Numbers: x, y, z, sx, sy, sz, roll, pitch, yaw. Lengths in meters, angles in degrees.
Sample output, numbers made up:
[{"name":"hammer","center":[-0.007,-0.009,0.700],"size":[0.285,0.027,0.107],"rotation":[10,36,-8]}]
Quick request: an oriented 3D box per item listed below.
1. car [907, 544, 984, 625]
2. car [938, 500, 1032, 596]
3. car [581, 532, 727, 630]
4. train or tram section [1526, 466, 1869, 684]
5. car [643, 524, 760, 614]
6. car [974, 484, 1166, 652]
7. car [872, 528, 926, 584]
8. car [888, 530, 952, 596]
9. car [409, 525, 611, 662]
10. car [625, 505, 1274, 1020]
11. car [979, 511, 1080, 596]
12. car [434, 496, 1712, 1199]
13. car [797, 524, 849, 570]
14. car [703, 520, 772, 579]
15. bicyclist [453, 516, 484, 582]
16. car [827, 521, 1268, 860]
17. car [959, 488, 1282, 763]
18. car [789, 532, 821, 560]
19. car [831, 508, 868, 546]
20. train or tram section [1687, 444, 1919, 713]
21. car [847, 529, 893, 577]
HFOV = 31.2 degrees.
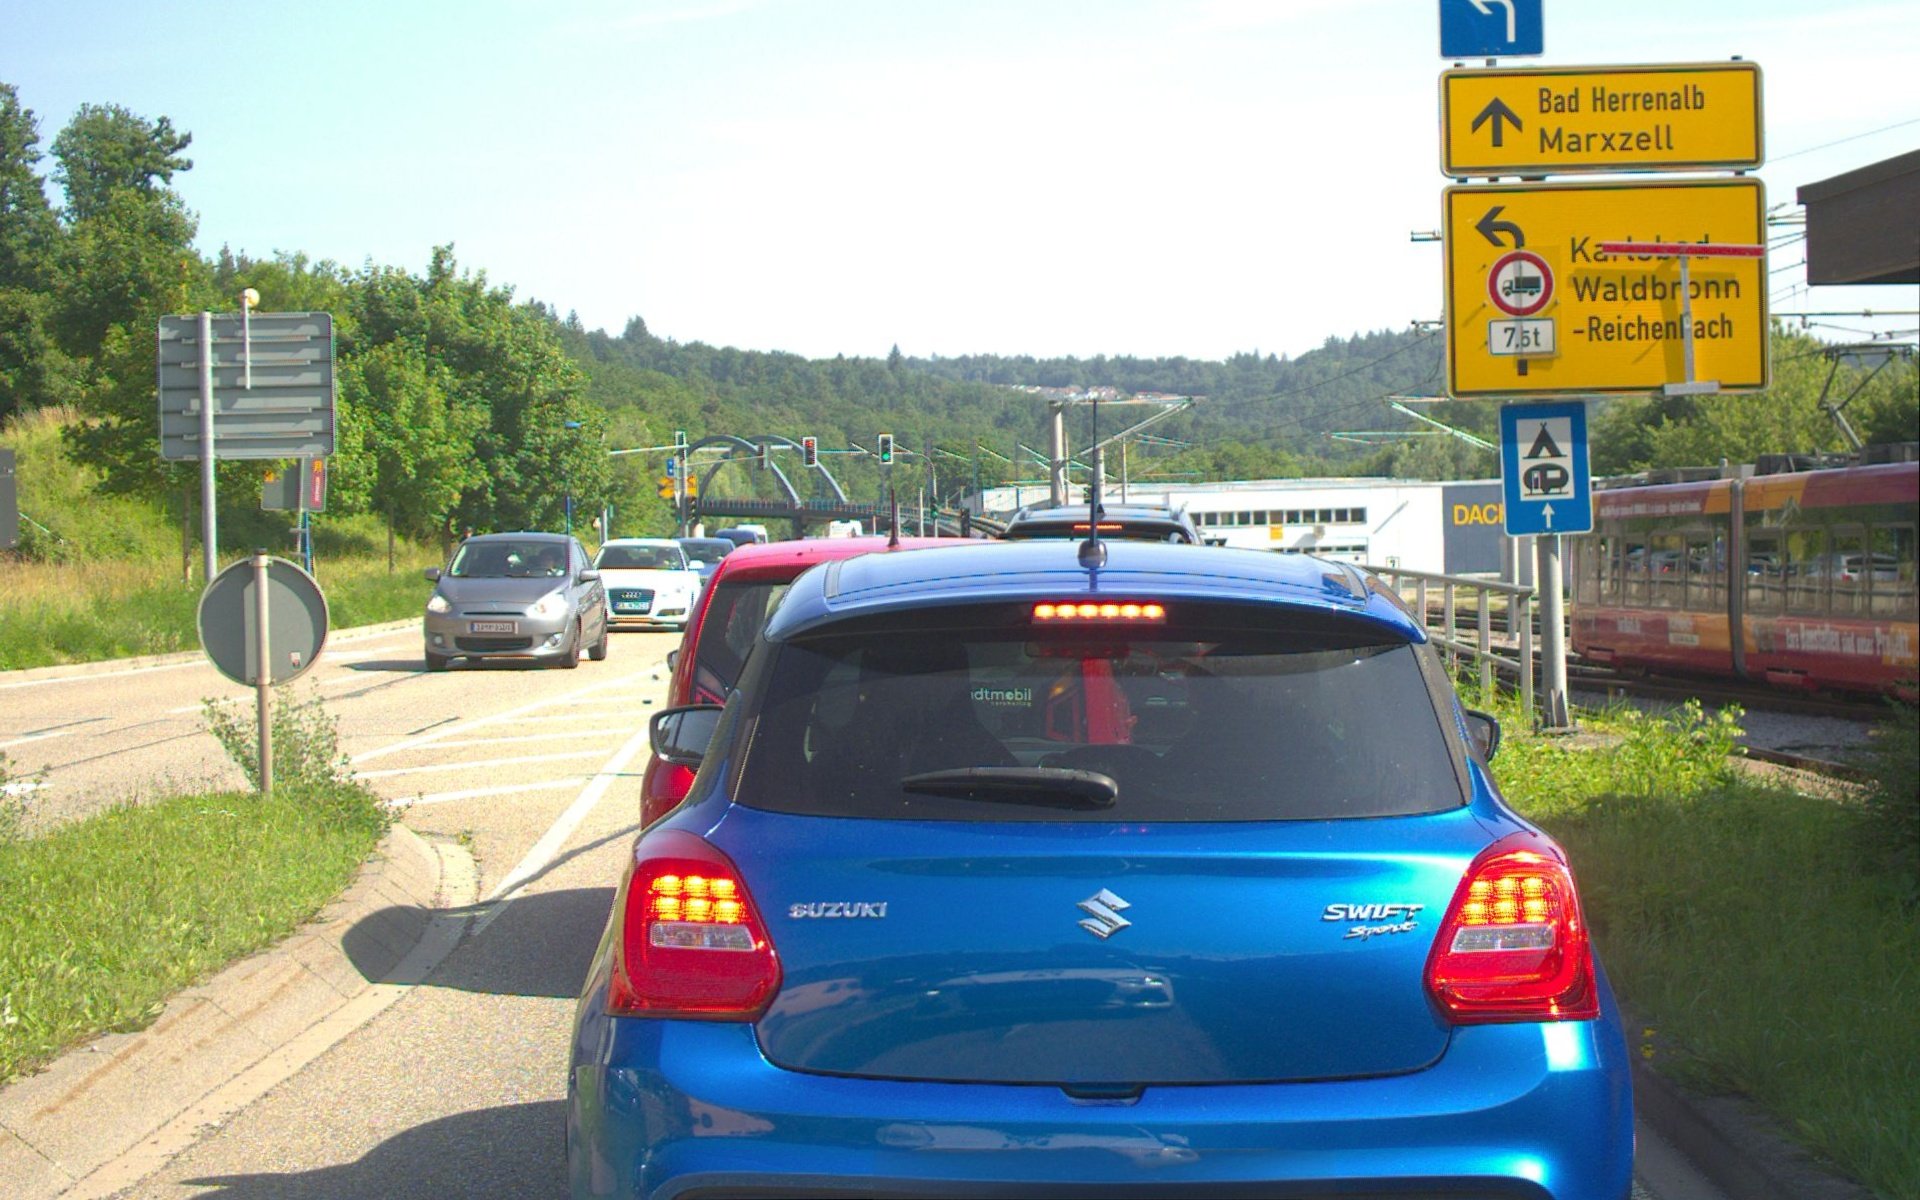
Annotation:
[{"name":"car","center":[-0.412,-0.450,94.119],"size":[1.993,2.006,4.001],"rotation":[2,2,-1]},{"name":"car","center":[0.533,-1.209,77.983],"size":[1.993,2.006,4.001],"rotation":[2,2,-1]},{"name":"car","center":[-4.722,-0.323,53.520],"size":[1.832,1.364,3.950],"rotation":[1,2,1]},{"name":"train or tram section","center":[12.534,-0.562,59.837],"size":[2.755,3.352,12.050],"rotation":[1,2,-3]},{"name":"car","center":[-4.872,-0.609,65.258],"size":[1.832,1.463,3.811],"rotation":[2,3,1]},{"name":"car","center":[1.209,-0.385,38.676],"size":[1.993,1.730,4.000],"rotation":[2,1,1]},{"name":"car","center":[-2.345,-1.725,133.319],"size":[1.993,2.006,4.001],"rotation":[2,2,-1]},{"name":"car","center":[-1.321,-1.248,113.514],"size":[1.993,2.006,4.001],"rotation":[2,2,-1]},{"name":"car","center":[-4.937,-0.099,38.145],"size":[1.672,1.436,3.840],"rotation":[1,1,1]},{"name":"car","center":[-0.003,0.473,12.713],"size":[1.993,1.566,4.000],"rotation":[1,1,1]},{"name":"car","center":[1.335,-0.911,65.976],"size":[1.832,1.488,3.811],"rotation":[2,2,1]},{"name":"car","center":[0.120,0.581,7.044],"size":[1.868,1.543,4.000],"rotation":[0,1,-1]},{"name":"car","center":[-5.564,-2.166,140.229],"size":[1.993,1.777,4.000],"rotation":[1,1,-1]},{"name":"car","center":[-6.978,-1.599,108.277],"size":[1.832,1.707,3.811],"rotation":[2,2,1]},{"name":"bicyclist","center":[-11.351,-1.173,79.462],"size":[0.629,1.502,0.506],"rotation":[2,2,-3]},{"name":"car","center":[0.438,0.360,17.981],"size":[1.993,1.526,4.602],"rotation":[-1,1,1]},{"name":"car","center":[1.055,0.108,24.063],"size":[1.993,1.681,4.497],"rotation":[2,1,1]},{"name":"car","center":[-10.557,-3.701,234.417],"size":[1.993,1.733,4.001],"rotation":[2,2,-1]},{"name":"car","center":[-6.354,-4.225,198.294],"size":[1.993,2.137,4.720],"rotation":[1,1,-1]},{"name":"train or tram section","center":[13.154,-0.312,48.172],"size":[2.786,3.353,12.049],"rotation":[1,1,-3]},{"name":"car","center":[-4.109,-2.169,157.653],"size":[1.993,2.006,4.001],"rotation":[2,2,-1]}]
